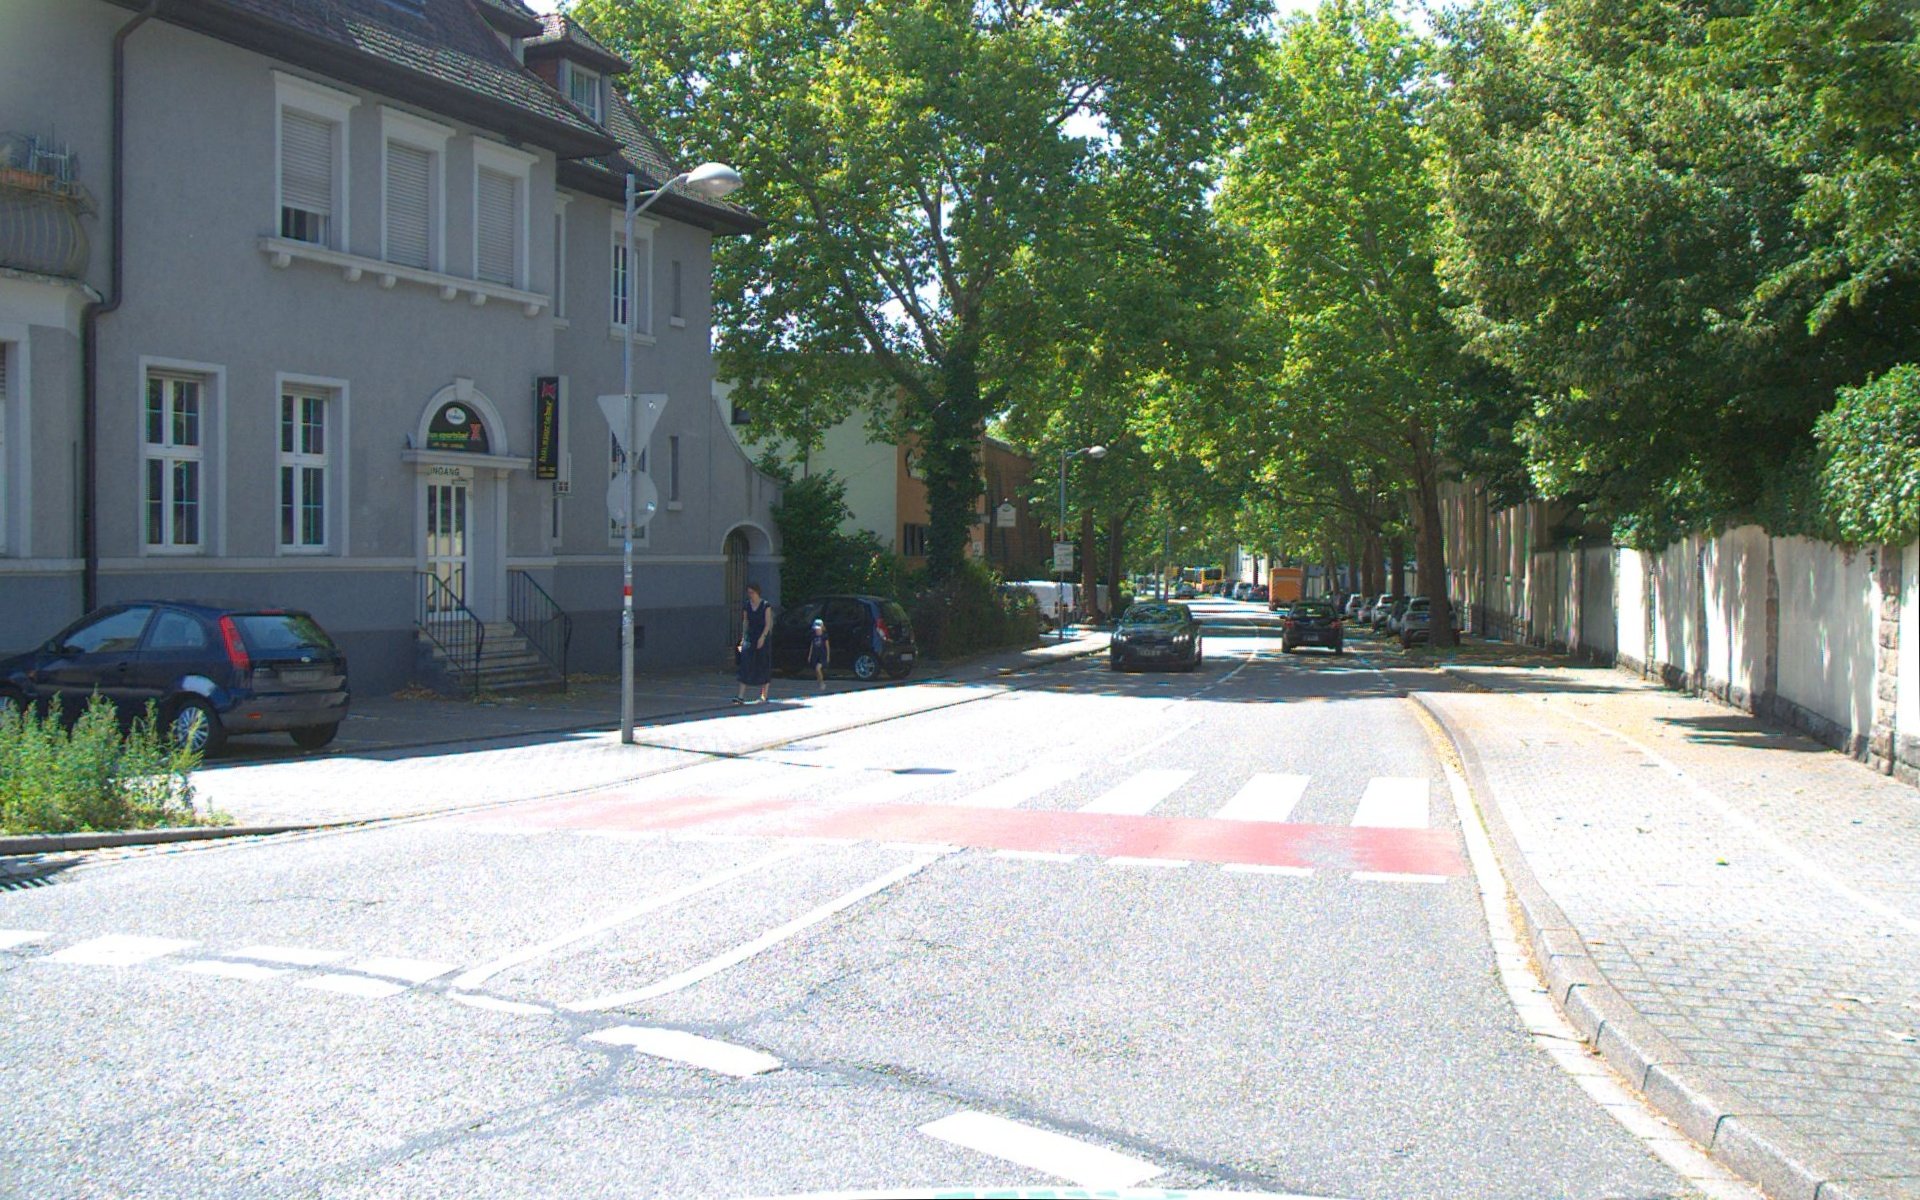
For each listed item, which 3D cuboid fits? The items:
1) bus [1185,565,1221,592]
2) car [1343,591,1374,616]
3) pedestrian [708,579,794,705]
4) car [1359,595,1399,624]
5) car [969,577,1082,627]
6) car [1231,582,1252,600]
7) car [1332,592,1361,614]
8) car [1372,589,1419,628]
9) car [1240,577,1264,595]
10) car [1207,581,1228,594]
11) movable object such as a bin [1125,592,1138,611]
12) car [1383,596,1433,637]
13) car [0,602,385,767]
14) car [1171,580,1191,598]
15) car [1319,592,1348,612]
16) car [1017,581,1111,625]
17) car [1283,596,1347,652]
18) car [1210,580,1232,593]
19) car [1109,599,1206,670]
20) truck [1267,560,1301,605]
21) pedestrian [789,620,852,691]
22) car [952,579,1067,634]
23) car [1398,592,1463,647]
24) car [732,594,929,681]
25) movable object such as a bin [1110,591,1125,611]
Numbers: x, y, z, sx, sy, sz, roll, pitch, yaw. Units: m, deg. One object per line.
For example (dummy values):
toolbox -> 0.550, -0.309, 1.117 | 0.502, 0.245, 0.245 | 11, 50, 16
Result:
bus -> 30.008, -2.566, 204.759 | 2.609, 3.205, 11.195 | 0, 0, -1
car -> 24.191, 0.188, 100.532 | 1.543, 1.491, 3.879 | -1, 0, 10
pedestrian -> -3.023, 0.595, 24.020 | 0.853, 1.773, 1.113 | 0, 0, 18
car -> 21.804, 0.486, 86.163 | 1.729, 1.458, 3.879 | -1, 0, 10
car -> 2.693, 0.061, 67.244 | 4.329, 1.835, 1.905 | 2, 0, 9
car -> 28.463, -0.942, 167.219 | 1.839, 1.715, 4.003 | 0, -1, 7
car -> 26.362, 0.198, 112.938 | 1.729, 1.491, 3.879 | -1, 0, 10
car -> 19.918, 0.372, 75.830 | 1.769, 1.718, 4.756 | -1, 0, 11
car -> 28.233, -1.335, 160.125 | 1.840, 1.715, 4.002 | 0, -1, 4
car -> 29.139, -1.432, 187.489 | 1.730, 1.398, 3.729 | -1, 0, -1
movable object such as a bin -> 9.612, 0.091, 92.863 | 0.610, 1.066, 0.621 | 1, 0, 17
car -> 17.373, 0.615, 64.275 | 1.586, 1.465, 4.437 | -1, 0, 11
car -> -7.812, 0.769, 16.507 | 3.703, 1.486, 1.724 | 0, 0, 22
car -> 22.612, -1.120, 169.428 | 1.951, 1.695, 4.002 | 0, -1, 6
car -> 27.524, 0.157, 121.929 | 1.729, 1.398, 3.733 | -1, 0, 7
car -> 4.737, 0.129, 75.064 | 4.040, 1.835, 1.905 | 2, 0, 9
car -> 10.070, 0.646, 47.099 | 1.674, 1.472, 4.062 | 0, 1, 11
car -> 28.321, -1.420, 179.303 | 1.731, 1.398, 3.729 | -1, 0, -1
car -> 4.386, 0.710, 36.298 | 1.731, 1.451, 4.396 | 0, 0, 12
truck -> 24.155, -1.250, 123.507 | 2.320, 3.189, 5.773 | 0, -1, 9
pedestrian -> -2.298, 0.903, 27.263 | 0.738, 1.141, 0.898 | 0, 0, 18
car -> 1.812, 0.230, 60.088 | 3.902, 1.824, 1.870 | 2, 0, 9
car -> 14.933, 0.595, 52.698 | 1.704, 1.584, 4.784 | -1, 1, 13
car -> -2.448, 0.673, 31.381 | 3.312, 1.573, 1.724 | 0, 0, 22
movable object such as a bin -> 8.824, 0.064, 92.653 | 0.719, 1.097, 0.702 | 1, 0, 11
